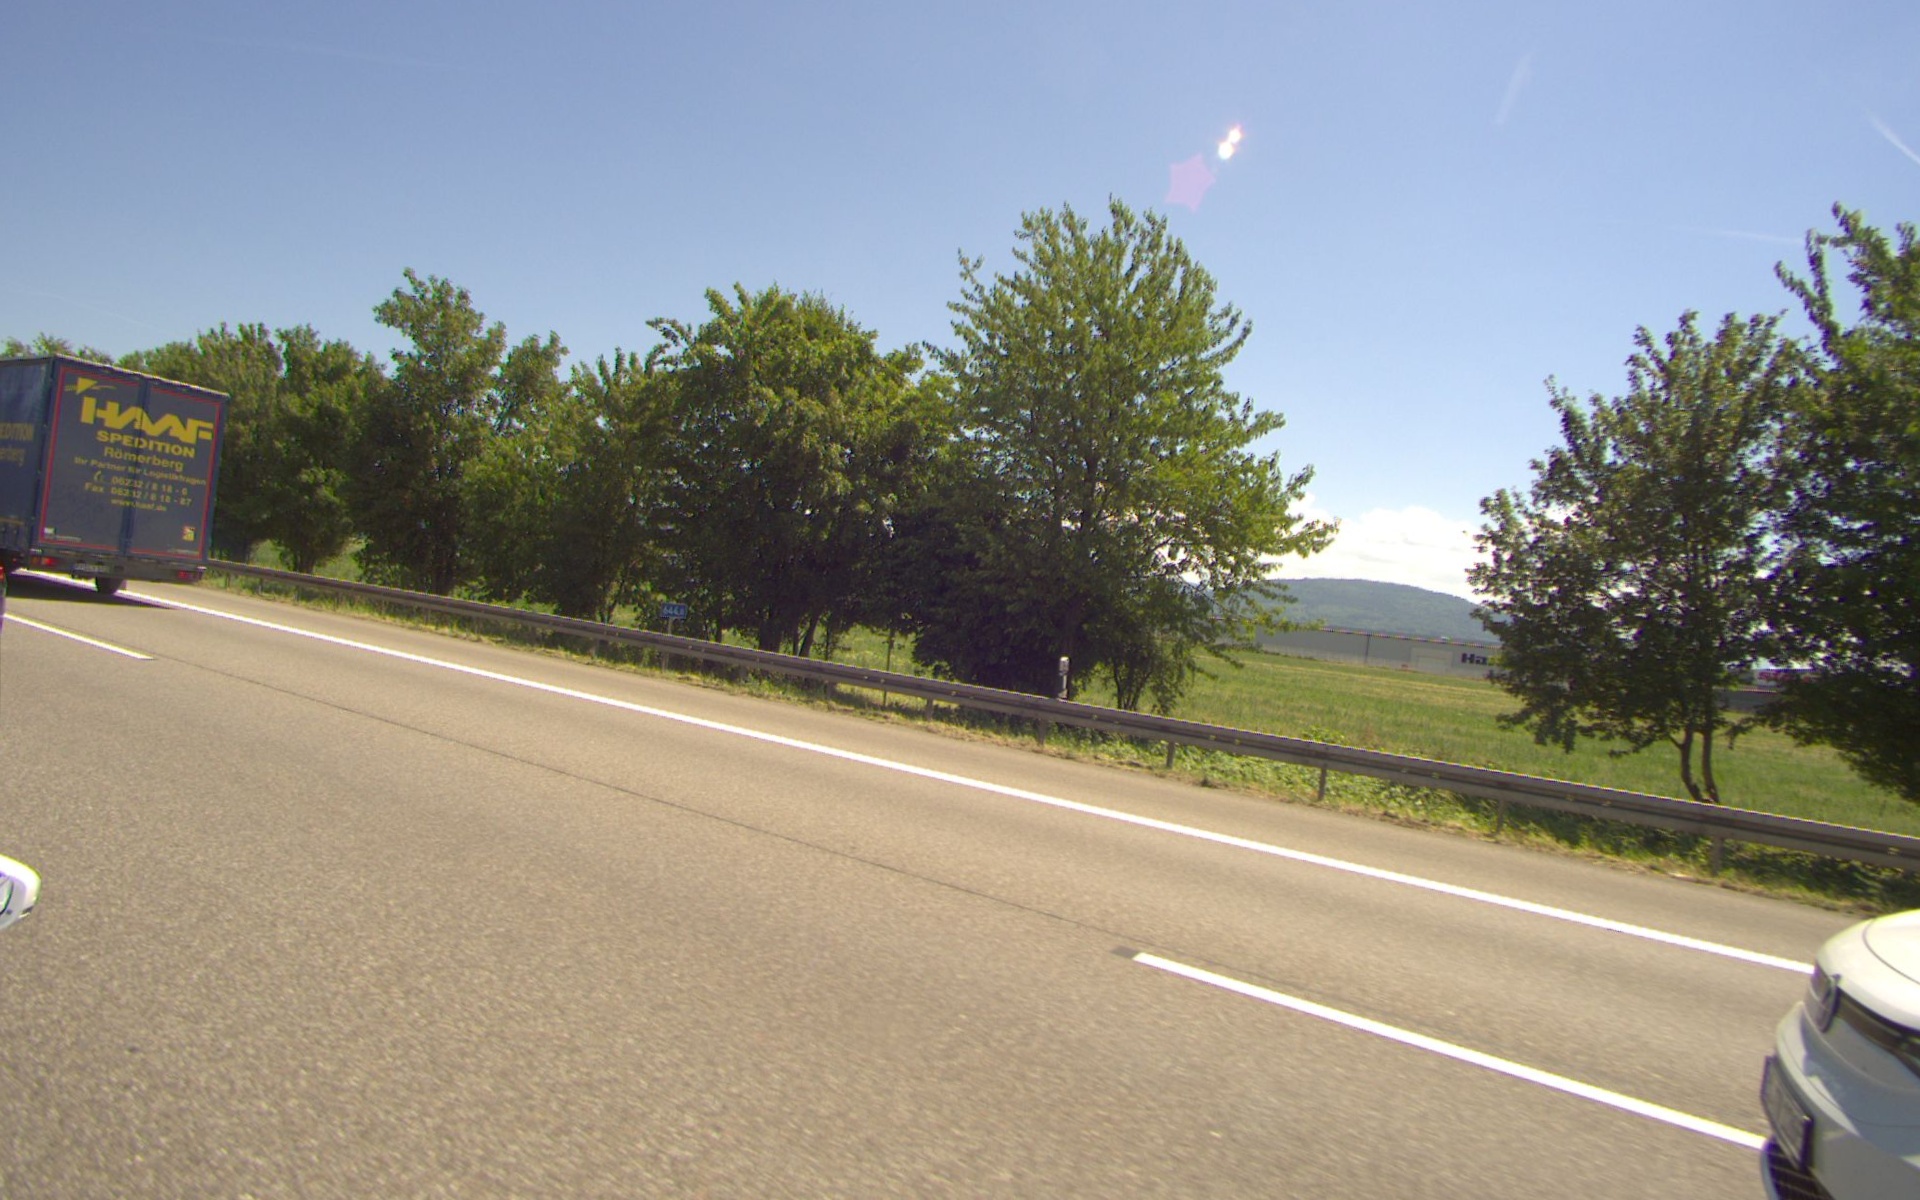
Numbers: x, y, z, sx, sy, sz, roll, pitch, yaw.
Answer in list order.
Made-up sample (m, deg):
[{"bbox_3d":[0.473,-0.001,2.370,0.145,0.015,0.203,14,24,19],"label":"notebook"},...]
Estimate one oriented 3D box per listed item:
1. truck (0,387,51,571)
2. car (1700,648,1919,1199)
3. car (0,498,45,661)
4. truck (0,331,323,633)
[{"bbox_3d":[-26.123,-3.305,24.806,7.923,4.187,3.114,7,-1,32],"label":"truck"},{"bbox_3d":[3.947,1.193,1.476,4.308,1.621,1.806,7,-2,32],"label":"car"},{"bbox_3d":[-11.134,-0.450,10.068,3.892,1.540,1.854,7,-2,32],"label":"car"},{"bbox_3d":[-18.394,-2.408,19.933,15.254,4.187,3.114,7,-1,32],"label":"truck"}]
